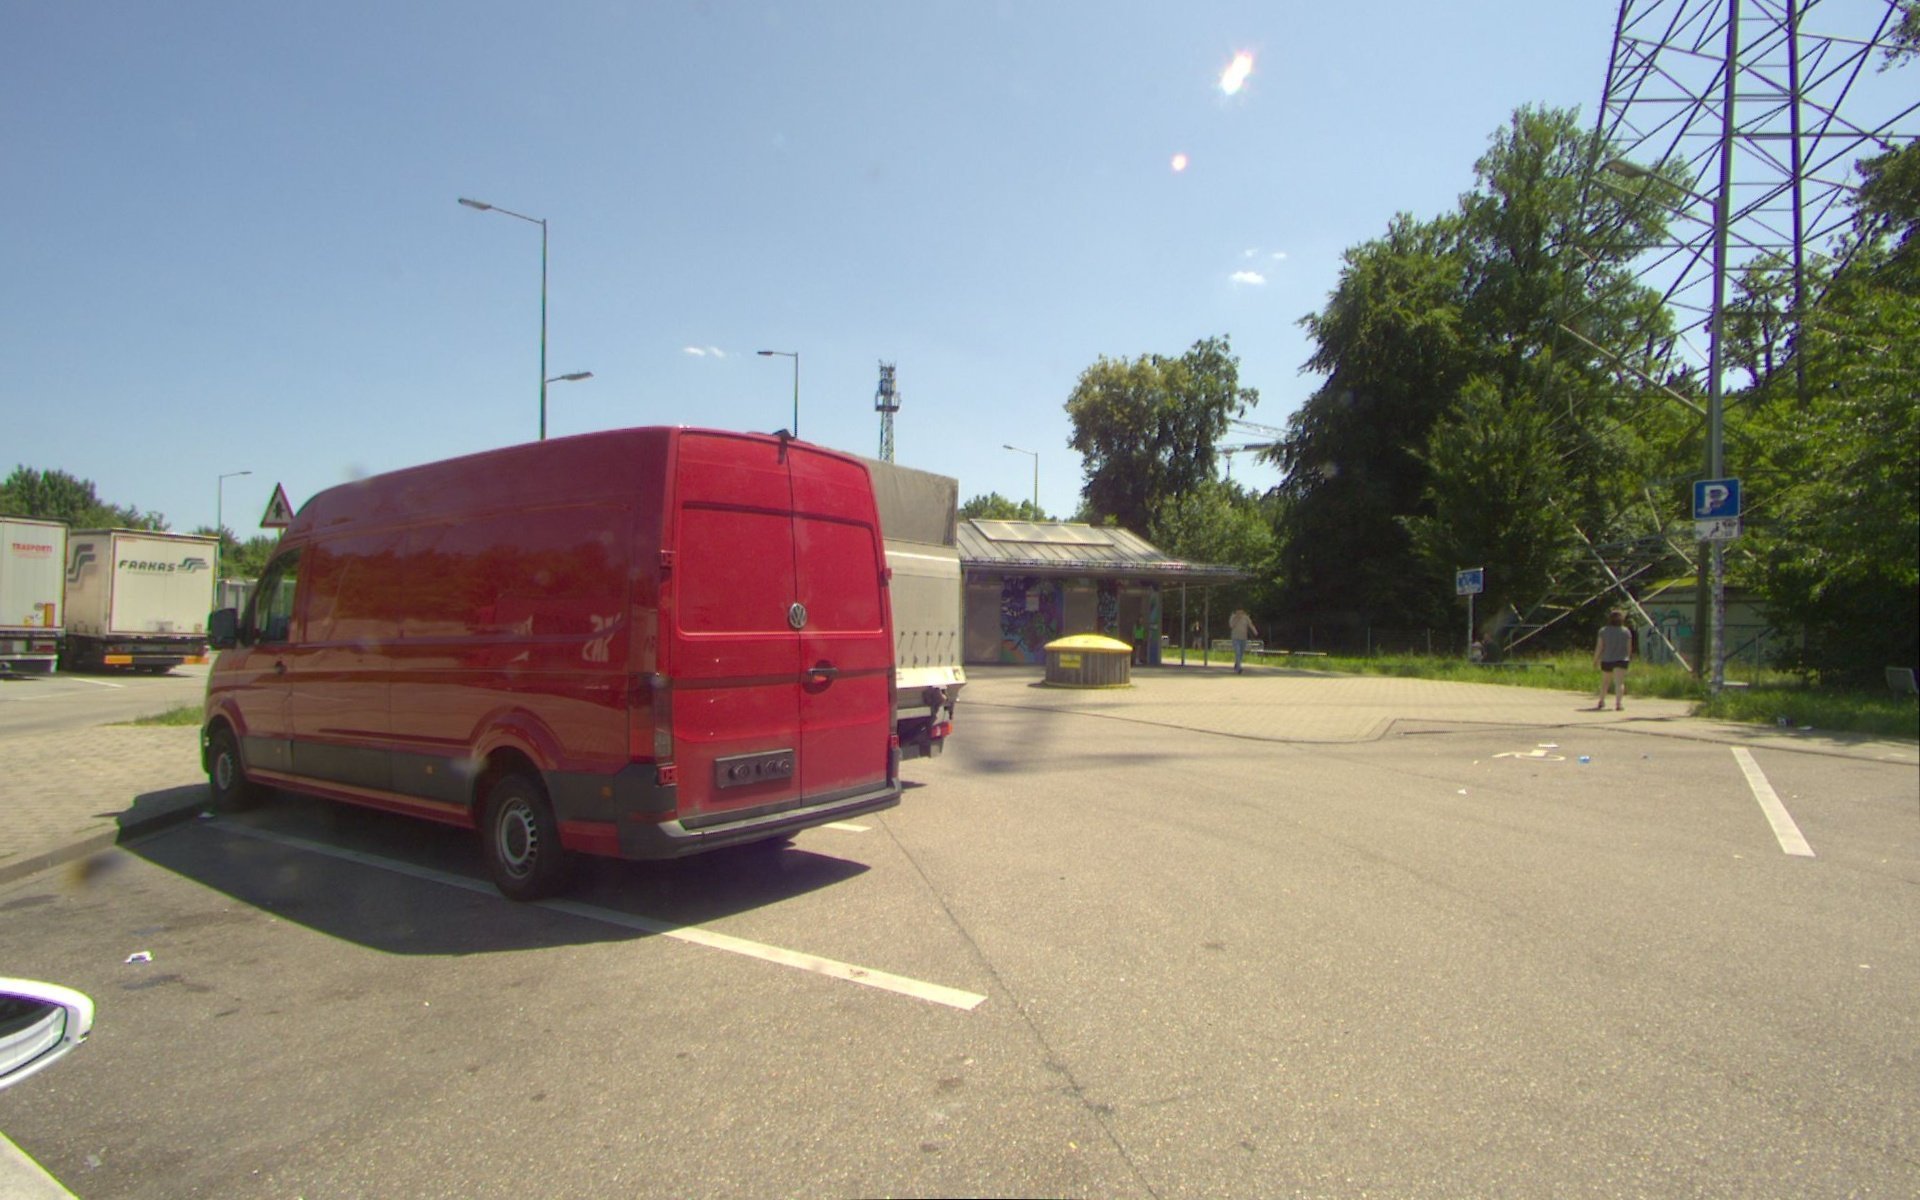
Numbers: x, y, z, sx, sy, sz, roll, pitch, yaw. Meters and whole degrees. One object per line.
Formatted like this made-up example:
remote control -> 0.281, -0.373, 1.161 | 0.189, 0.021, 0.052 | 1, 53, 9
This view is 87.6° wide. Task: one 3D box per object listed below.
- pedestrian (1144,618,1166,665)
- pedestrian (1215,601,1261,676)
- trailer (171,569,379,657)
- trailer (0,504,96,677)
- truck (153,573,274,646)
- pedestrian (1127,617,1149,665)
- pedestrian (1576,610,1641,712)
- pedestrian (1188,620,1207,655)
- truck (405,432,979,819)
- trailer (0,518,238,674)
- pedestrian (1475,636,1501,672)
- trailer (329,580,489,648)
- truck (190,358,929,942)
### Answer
pedestrian -> 5.851, 1.248, 30.061 | 0.532, 1.392, 0.583 | 0, -1, 0
pedestrian -> 7.353, 1.020, 26.507 | 0.799, 1.929, 0.920 | 0, -1, -15
trailer -> -32.466, 0.487, 47.090 | 13.561, 3.646, 2.854 | 1, -2, 32
trailer -> -28.677, -0.339, 28.012 | 13.561, 4.162, 2.854 | 1, -2, 32
truck -> -37.537, 0.478, 50.314 | 5.887, 3.406, 2.862 | 1, -2, 32
pedestrian -> 5.259, 1.218, 29.614 | 0.532, 1.392, 0.583 | 0, -1, 0
pedestrian -> 10.894, 1.014, 16.826 | 0.706, 1.670, 0.683 | 1, -1, -34
pedestrian -> 11.009, 1.743, 46.493 | 0.798, 1.639, 0.921 | 0, -1, 9
truck -> -3.077, 0.275, 10.511 | 6.372, 2.944, 2.411 | -1, -2, 37
trailer -> -27.604, -0.166, 31.600 | 13.561, 4.162, 2.854 | 1, -2, 32
pedestrian -> 14.654, 1.495, 27.806 | 0.439, 0.987, 0.460 | 0, -1, -19
trailer -> -36.158, 0.849, 65.329 | 13.561, 3.955, 2.854 | 1, -2, 32
truck -> -3.328, 0.303, 7.327 | 6.372, 2.685, 2.005 | -1, -2, 37
